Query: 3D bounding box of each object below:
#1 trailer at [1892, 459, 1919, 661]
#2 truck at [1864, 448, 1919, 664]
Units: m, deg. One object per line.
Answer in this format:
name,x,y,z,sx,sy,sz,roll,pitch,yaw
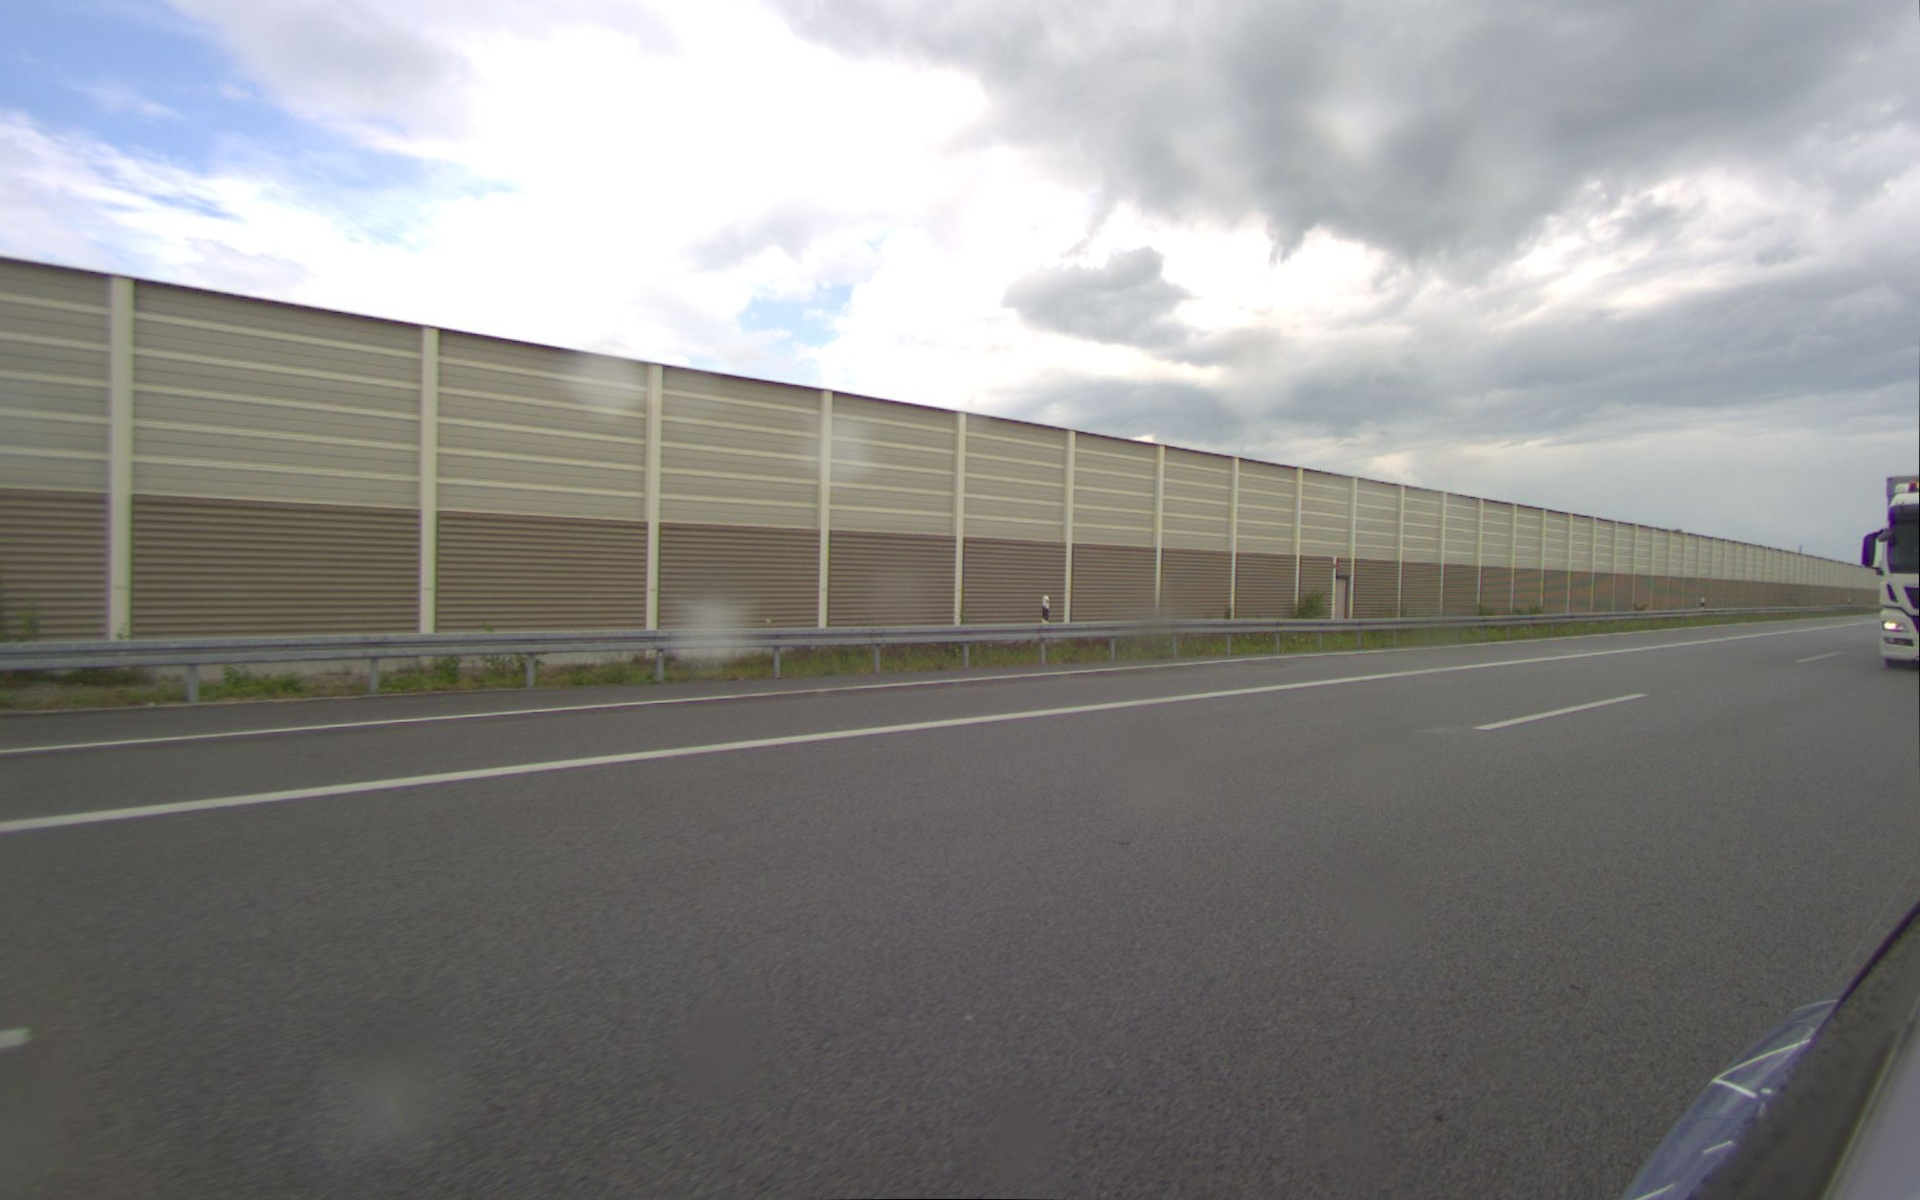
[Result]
trailer,26.063,-0.894,24.620,12.955,4.266,2.926,-1,0,-38
truck,21.225,-0.878,20.867,5.096,4.223,2.914,0,0,-37
